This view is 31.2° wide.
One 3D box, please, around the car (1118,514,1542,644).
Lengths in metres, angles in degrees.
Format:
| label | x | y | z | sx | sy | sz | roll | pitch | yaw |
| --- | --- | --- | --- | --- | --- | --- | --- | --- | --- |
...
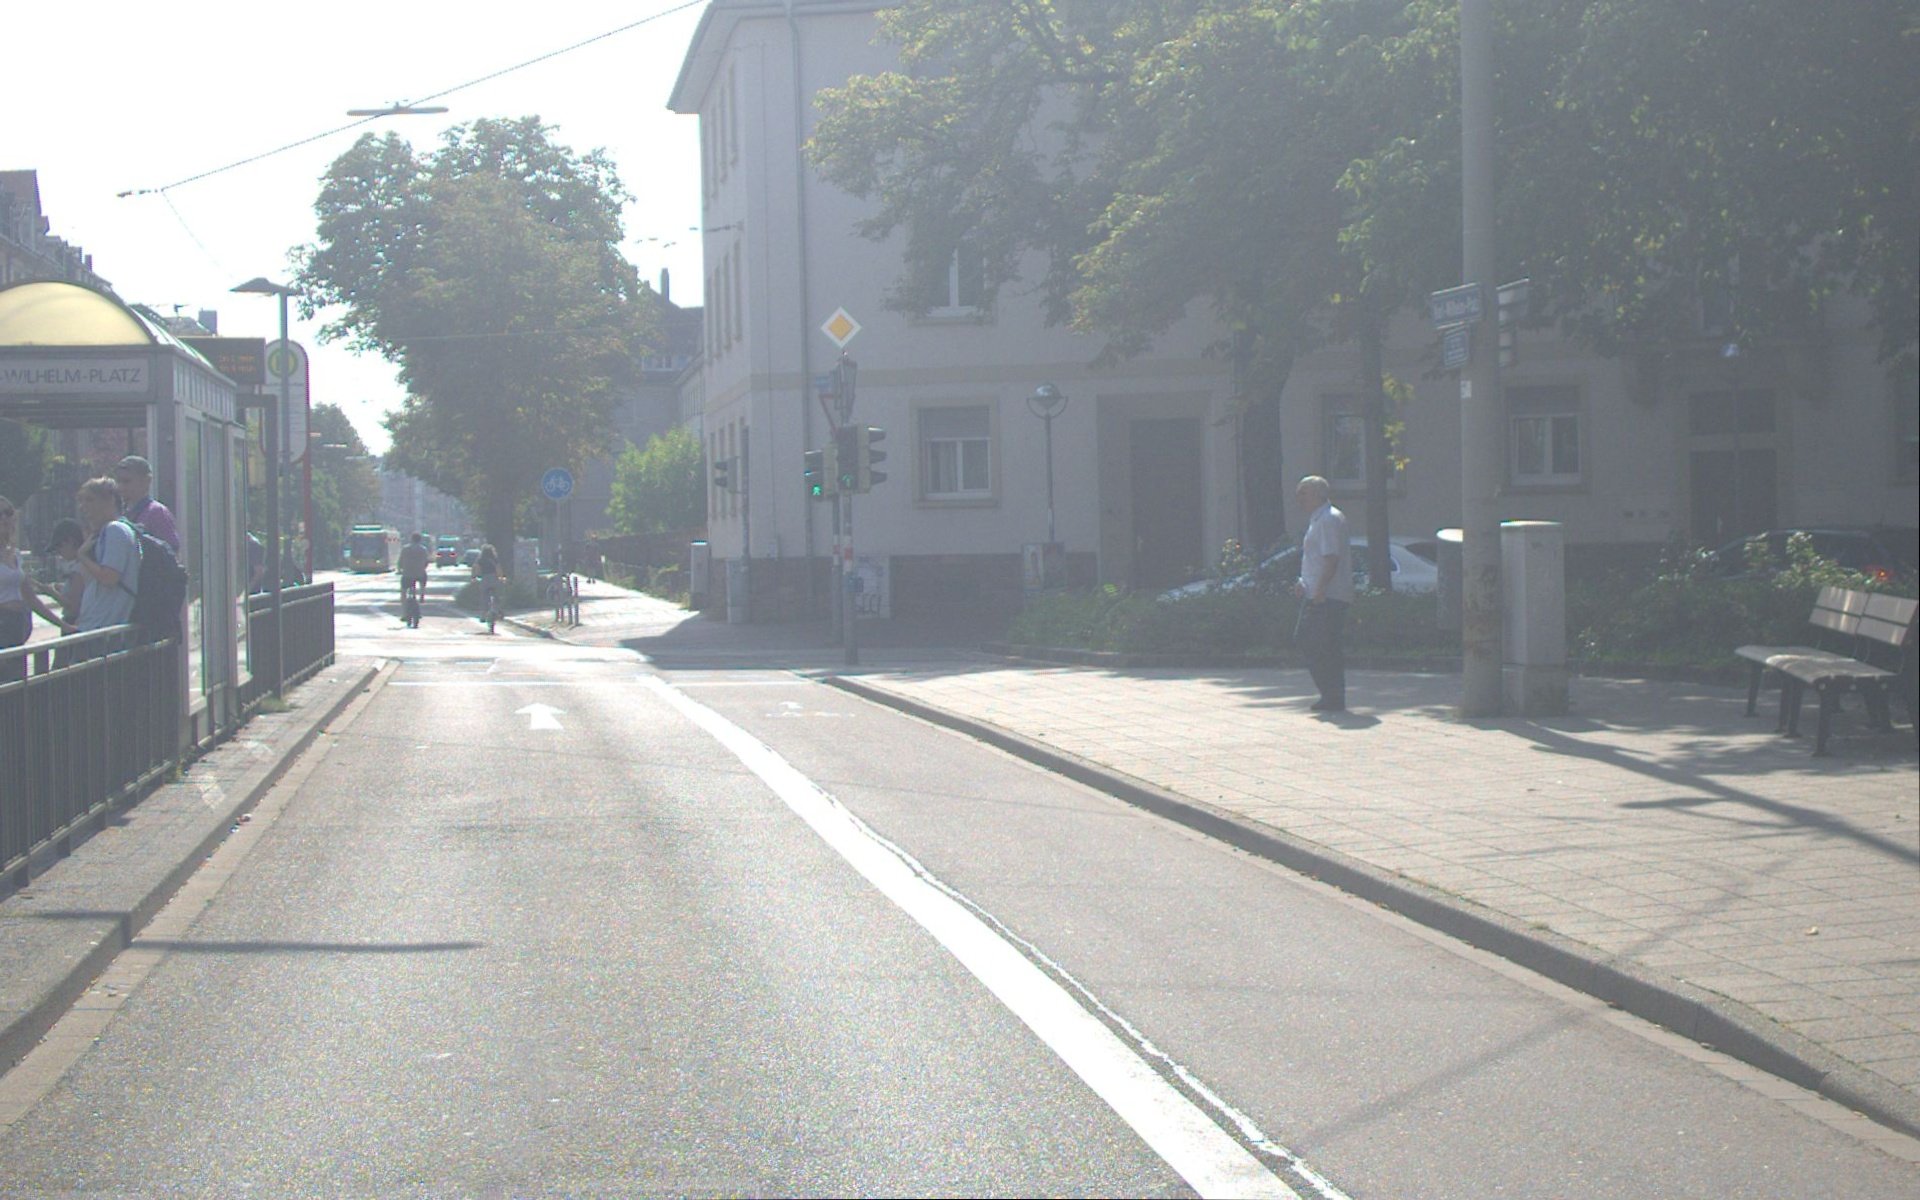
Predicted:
| label | x | y | z | sx | sy | sz | roll | pitch | yaw |
| --- | --- | --- | --- | --- | --- | --- | --- | --- | --- |
| car | 4.618 | -0.254 | 43.245 | 4.947 | 1.464 | 1.873 | -1 | 4 | 33 |

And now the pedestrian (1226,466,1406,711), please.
| label | x | y | z | sx | sy | sz | roll | pitch | yaw |
| --- | --- | --- | --- | --- | --- | --- | --- | --- | --- |
| pedestrian | 2.662 | -0.096 | 25.597 | 0.967 | 1.718 | 1.079 | -3 | 2 | 22 |

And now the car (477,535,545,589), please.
| label | x | y | z | sx | sy | sz | roll | pitch | yaw |
| --- | --- | --- | --- | --- | --- | --- | --- | --- | --- |
| car | -13.622 | -1.172 | 104.429 | 1.645 | 1.535 | 3.842 | -3 | 1 | -2 |

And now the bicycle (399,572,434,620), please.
| label | x | y | z | sx | sy | sz | roll | pitch | yaw |
| --- | --- | --- | --- | --- | --- | --- | --- | --- | --- |
| bicycle | -10.361 | -0.083 | 65.540 | 0.626 | 0.906 | 1.525 | 1 | 0 | -8 |

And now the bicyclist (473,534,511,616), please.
| label | x | y | z | sx | sy | sz | roll | pitch | yaw |
| --- | --- | --- | --- | --- | --- | --- | --- | --- | --- |
| bicyclist | -8.534 | -0.451 | 62.680 | 0.654 | 1.469 | 0.909 | 1 | 0 | -8 |

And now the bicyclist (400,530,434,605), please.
| label | x | y | z | sx | sy | sz | roll | pitch | yaw |
| --- | --- | --- | --- | --- | --- | --- | --- | --- | --- |
| bicyclist | -10.352 | -0.621 | 65.547 | 0.626 | 1.396 | 0.929 | 1 | 0 | -8 |

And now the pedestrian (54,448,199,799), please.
| label | x | y | z | sx | sy | sz | roll | pitch | yaw |
| --- | --- | --- | --- | --- | --- | --- | --- | --- | --- |
| pedestrian | -4.468 | 0.117 | 18.457 | 0.636 | 1.841 | 0.634 | -1 | 1 | -5 |

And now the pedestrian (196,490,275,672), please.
| label | x | y | z | sx | sy | sz | roll | pitch | yaw |
| --- | --- | --- | --- | --- | --- | --- | --- | --- | --- |
| pedestrian | -7.108 | -0.192 | 33.745 | 0.689 | 1.760 | 0.796 | -1 | 1 | -9 |

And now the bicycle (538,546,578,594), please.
| label | x | y | z | sx | sy | sz | roll | pitch | yaw |
| --- | --- | --- | --- | --- | --- | --- | --- | --- | --- |
| bicycle | -9.483 | -0.725 | 81.028 | 0.771 | 1.100 | 2.334 | -1 | 1 | -10 |

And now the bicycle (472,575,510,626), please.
| label | x | y | z | sx | sy | sz | roll | pitch | yaw |
| --- | --- | --- | --- | --- | --- | --- | --- | --- | --- |
| bicycle | -8.551 | -0.001 | 62.697 | 0.654 | 0.906 | 1.775 | 1 | 0 | -8 |

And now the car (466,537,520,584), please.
| label | x | y | z | sx | sy | sz | roll | pitch | yaw |
| --- | --- | --- | --- | --- | --- | --- | --- | --- | --- |
| car | -15.271 | -1.286 | 112.427 | 1.645 | 1.443 | 4.247 | -3 | 1 | -7 |

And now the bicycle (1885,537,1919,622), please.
| label | x | y | z | sx | sy | sz | roll | pitch | yaw |
| --- | --- | --- | --- | --- | --- | --- | --- | --- | --- |
| bicycle | 12.651 | -0.235 | 43.434 | 0.607 | 1.054 | 1.839 | -2 | 3 | -39 |

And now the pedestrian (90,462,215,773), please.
| label | x | y | z | sx | sy | sz | roll | pitch | yaw |
| --- | --- | --- | --- | --- | --- | --- | --- | --- | --- |
| pedestrian | -4.646 | 0.092 | 19.816 | 0.589 | 1.758 | 0.607 | -1 | 1 | -5 |

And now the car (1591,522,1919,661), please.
| label | x | y | z | sx | sy | sz | roll | pitch | yaw |
| --- | --- | --- | --- | --- | --- | --- | --- | --- | --- |
| car | 9.345 | -0.132 | 39.385 | 1.747 | 1.446 | 3.888 | -4 | 3 | -42 |

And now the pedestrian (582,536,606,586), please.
| label | x | y | z | sx | sy | sz | roll | pitch | yaw |
| --- | --- | --- | --- | --- | --- | --- | --- | --- | --- |
| pedestrian | -12.959 | -1.382 | 121.746 | 0.752 | 1.743 | 0.878 | -1 | 1 | -1 |

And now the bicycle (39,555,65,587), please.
| label | x | y | z | sx | sy | sz | roll | pitch | yaw |
| --- | --- | --- | --- | --- | --- | --- | --- | --- | --- |
| bicycle | -31.736 | -1.021 | 120.186 | 0.544 | 1.054 | 1.840 | 3 | 0 | -6 |

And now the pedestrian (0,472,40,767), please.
| label | x | y | z | sx | sy | sz | roll | pitch | yaw |
| --- | --- | --- | --- | --- | --- | --- | --- | --- | --- |
| pedestrian | -5.809 | 0.111 | 20.312 | 0.589 | 1.715 | 0.607 | -1 | 1 | -5 |

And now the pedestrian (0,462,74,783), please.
| label | x | y | z | sx | sy | sz | roll | pitch | yaw |
| --- | --- | --- | --- | --- | --- | --- | --- | --- | --- |
| pedestrian | -5.292 | 0.118 | 19.008 | 0.636 | 1.742 | 0.634 | -1 | 1 | -5 |

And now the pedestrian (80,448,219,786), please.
| label | x | y | z | sx | sy | sz | roll | pitch | yaw |
| --- | --- | --- | --- | --- | --- | --- | --- | --- | --- |
| pedestrian | -4.507 | 0.085 | 19.139 | 0.636 | 1.841 | 0.634 | -1 | 1 | -5 |

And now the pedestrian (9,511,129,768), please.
| label | x | y | z | sx | sy | sz | roll | pitch | yaw |
| --- | --- | --- | --- | --- | --- | --- | --- | --- | --- |
| pedestrian | -5.450 | 0.230 | 21.049 | 0.589 | 1.539 | 0.607 | -1 | 1 | -5 |
